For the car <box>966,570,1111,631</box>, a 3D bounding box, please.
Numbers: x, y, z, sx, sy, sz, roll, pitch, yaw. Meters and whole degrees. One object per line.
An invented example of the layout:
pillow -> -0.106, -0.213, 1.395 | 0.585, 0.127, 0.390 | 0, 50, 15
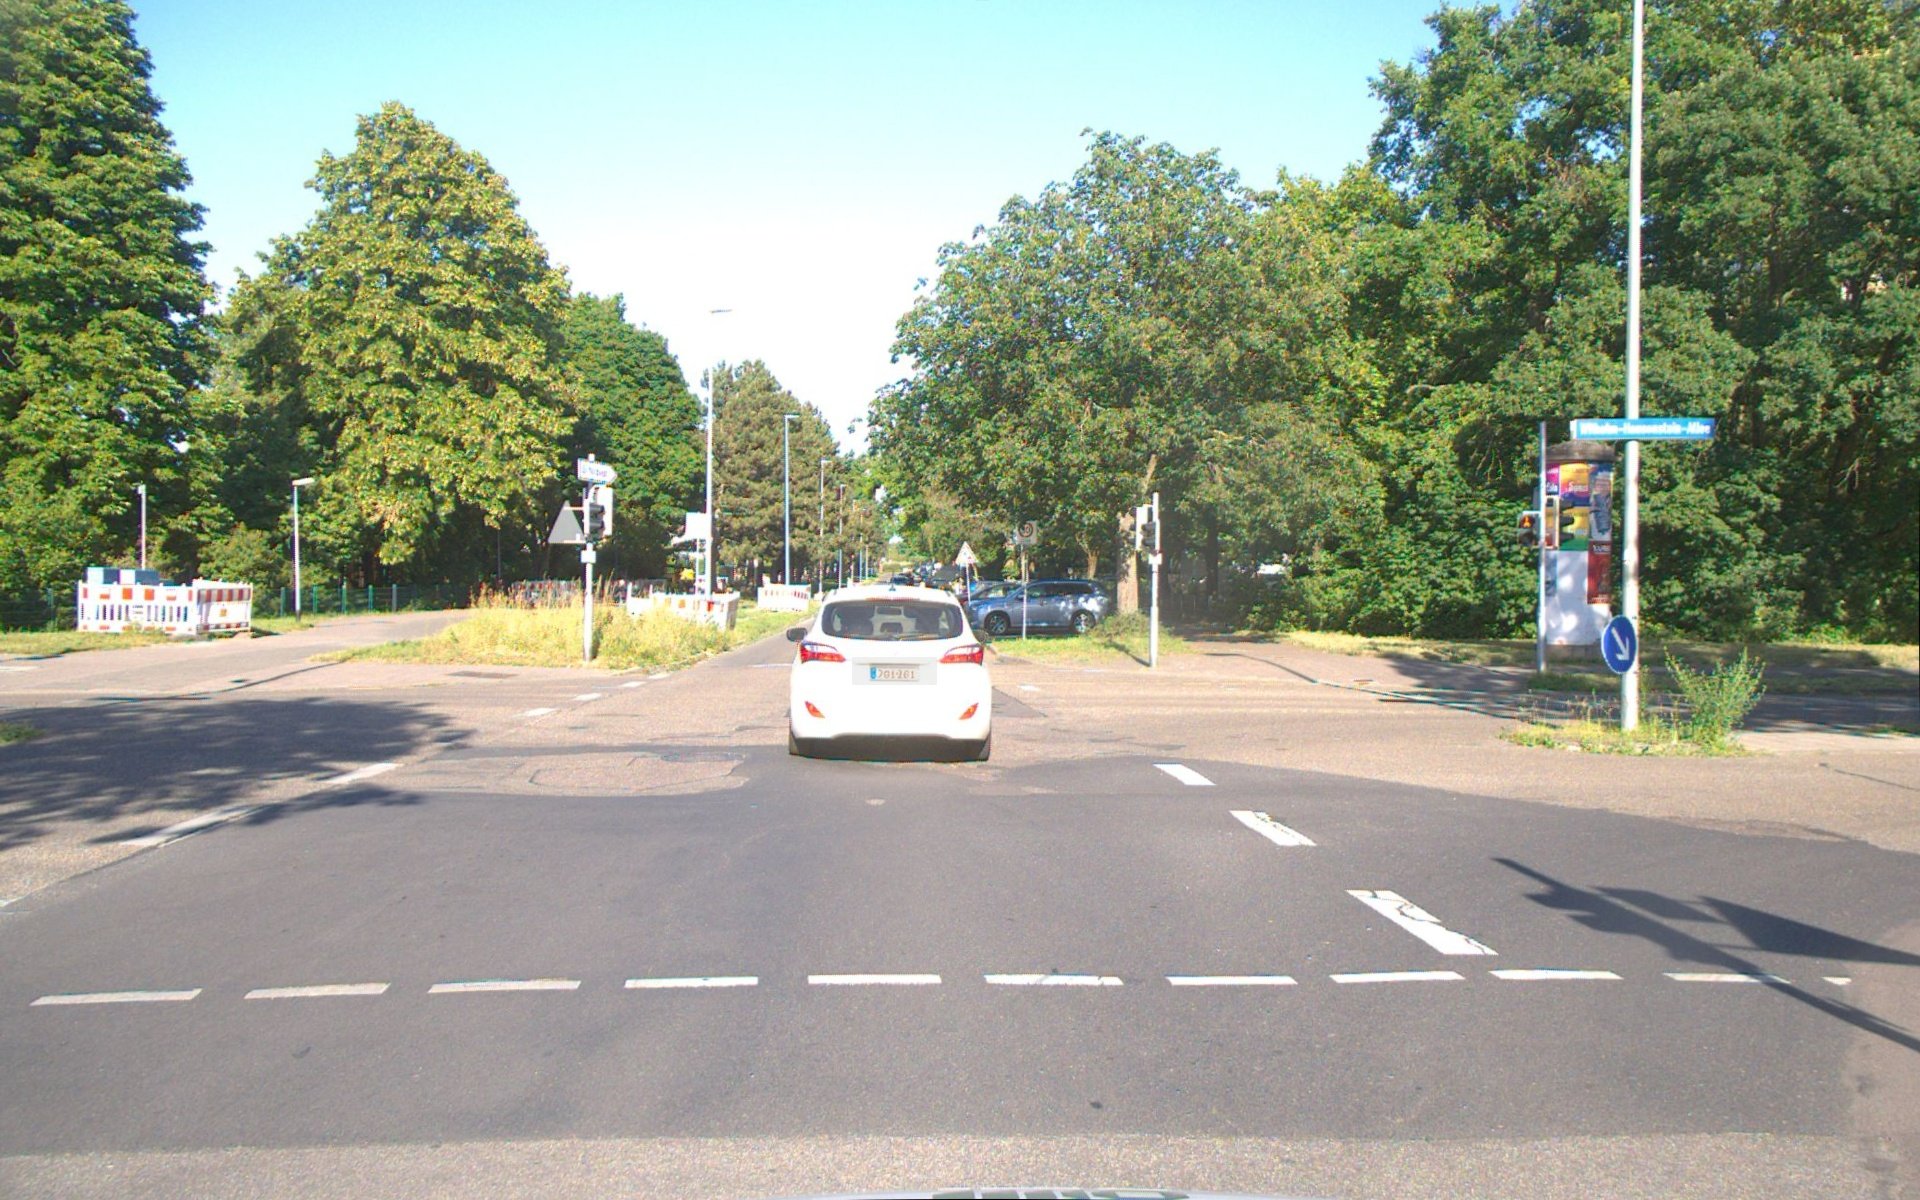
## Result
car -> 2.422, 0.014, 51.406 | 4.406, 1.814, 1.855 | 1, 0, 0

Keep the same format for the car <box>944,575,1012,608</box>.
car -> 0.987, -0.498, 93.341 | 3.742, 1.713, 1.863 | 2, 0, -2

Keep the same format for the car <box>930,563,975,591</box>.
car -> -0.678, -1.961, 142.087 | 3.742, 2.339, 1.863 | 2, 0, -2

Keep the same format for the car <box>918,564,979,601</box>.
car -> -0.742, -1.096, 103.320 | 3.742, 2.135, 1.863 | 2, 0, -2

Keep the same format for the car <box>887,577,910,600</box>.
car -> -5.345, -1.017, 144.370 | 1.953, 1.847, 3.999 | 2, 1, -2

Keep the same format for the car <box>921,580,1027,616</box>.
car -> 0.701, -0.098, 87.178 | 5.501, 1.713, 1.947 | 2, 0, -2

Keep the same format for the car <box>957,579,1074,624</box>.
car -> 2.125, 0.064, 63.567 | 4.406, 1.658, 1.855 | 1, 0, 0

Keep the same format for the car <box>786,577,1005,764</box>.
car -> -0.638, 0.551, 15.393 | 1.754, 1.488, 3.961 | 1, 1, -4

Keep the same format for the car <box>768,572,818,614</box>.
car -> -7.547, -0.331, 75.065 | 1.953, 1.847, 3.999 | 0, 1, -2

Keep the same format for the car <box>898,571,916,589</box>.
car -> -5.861, -2.223, 182.483 | 1.953, 1.847, 3.999 | 2, 0, -2

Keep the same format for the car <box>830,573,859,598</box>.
car -> -8.615, -1.073, 123.445 | 1.953, 1.847, 3.999 | 0, 1, -2

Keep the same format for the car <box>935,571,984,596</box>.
car -> -0.051, -1.249, 127.523 | 3.742, 1.798, 1.863 | 2, 0, -2

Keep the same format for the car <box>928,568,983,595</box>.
car -> -0.368, -1.437, 130.661 | 4.215, 1.941, 1.863 | 2, 0, -2
